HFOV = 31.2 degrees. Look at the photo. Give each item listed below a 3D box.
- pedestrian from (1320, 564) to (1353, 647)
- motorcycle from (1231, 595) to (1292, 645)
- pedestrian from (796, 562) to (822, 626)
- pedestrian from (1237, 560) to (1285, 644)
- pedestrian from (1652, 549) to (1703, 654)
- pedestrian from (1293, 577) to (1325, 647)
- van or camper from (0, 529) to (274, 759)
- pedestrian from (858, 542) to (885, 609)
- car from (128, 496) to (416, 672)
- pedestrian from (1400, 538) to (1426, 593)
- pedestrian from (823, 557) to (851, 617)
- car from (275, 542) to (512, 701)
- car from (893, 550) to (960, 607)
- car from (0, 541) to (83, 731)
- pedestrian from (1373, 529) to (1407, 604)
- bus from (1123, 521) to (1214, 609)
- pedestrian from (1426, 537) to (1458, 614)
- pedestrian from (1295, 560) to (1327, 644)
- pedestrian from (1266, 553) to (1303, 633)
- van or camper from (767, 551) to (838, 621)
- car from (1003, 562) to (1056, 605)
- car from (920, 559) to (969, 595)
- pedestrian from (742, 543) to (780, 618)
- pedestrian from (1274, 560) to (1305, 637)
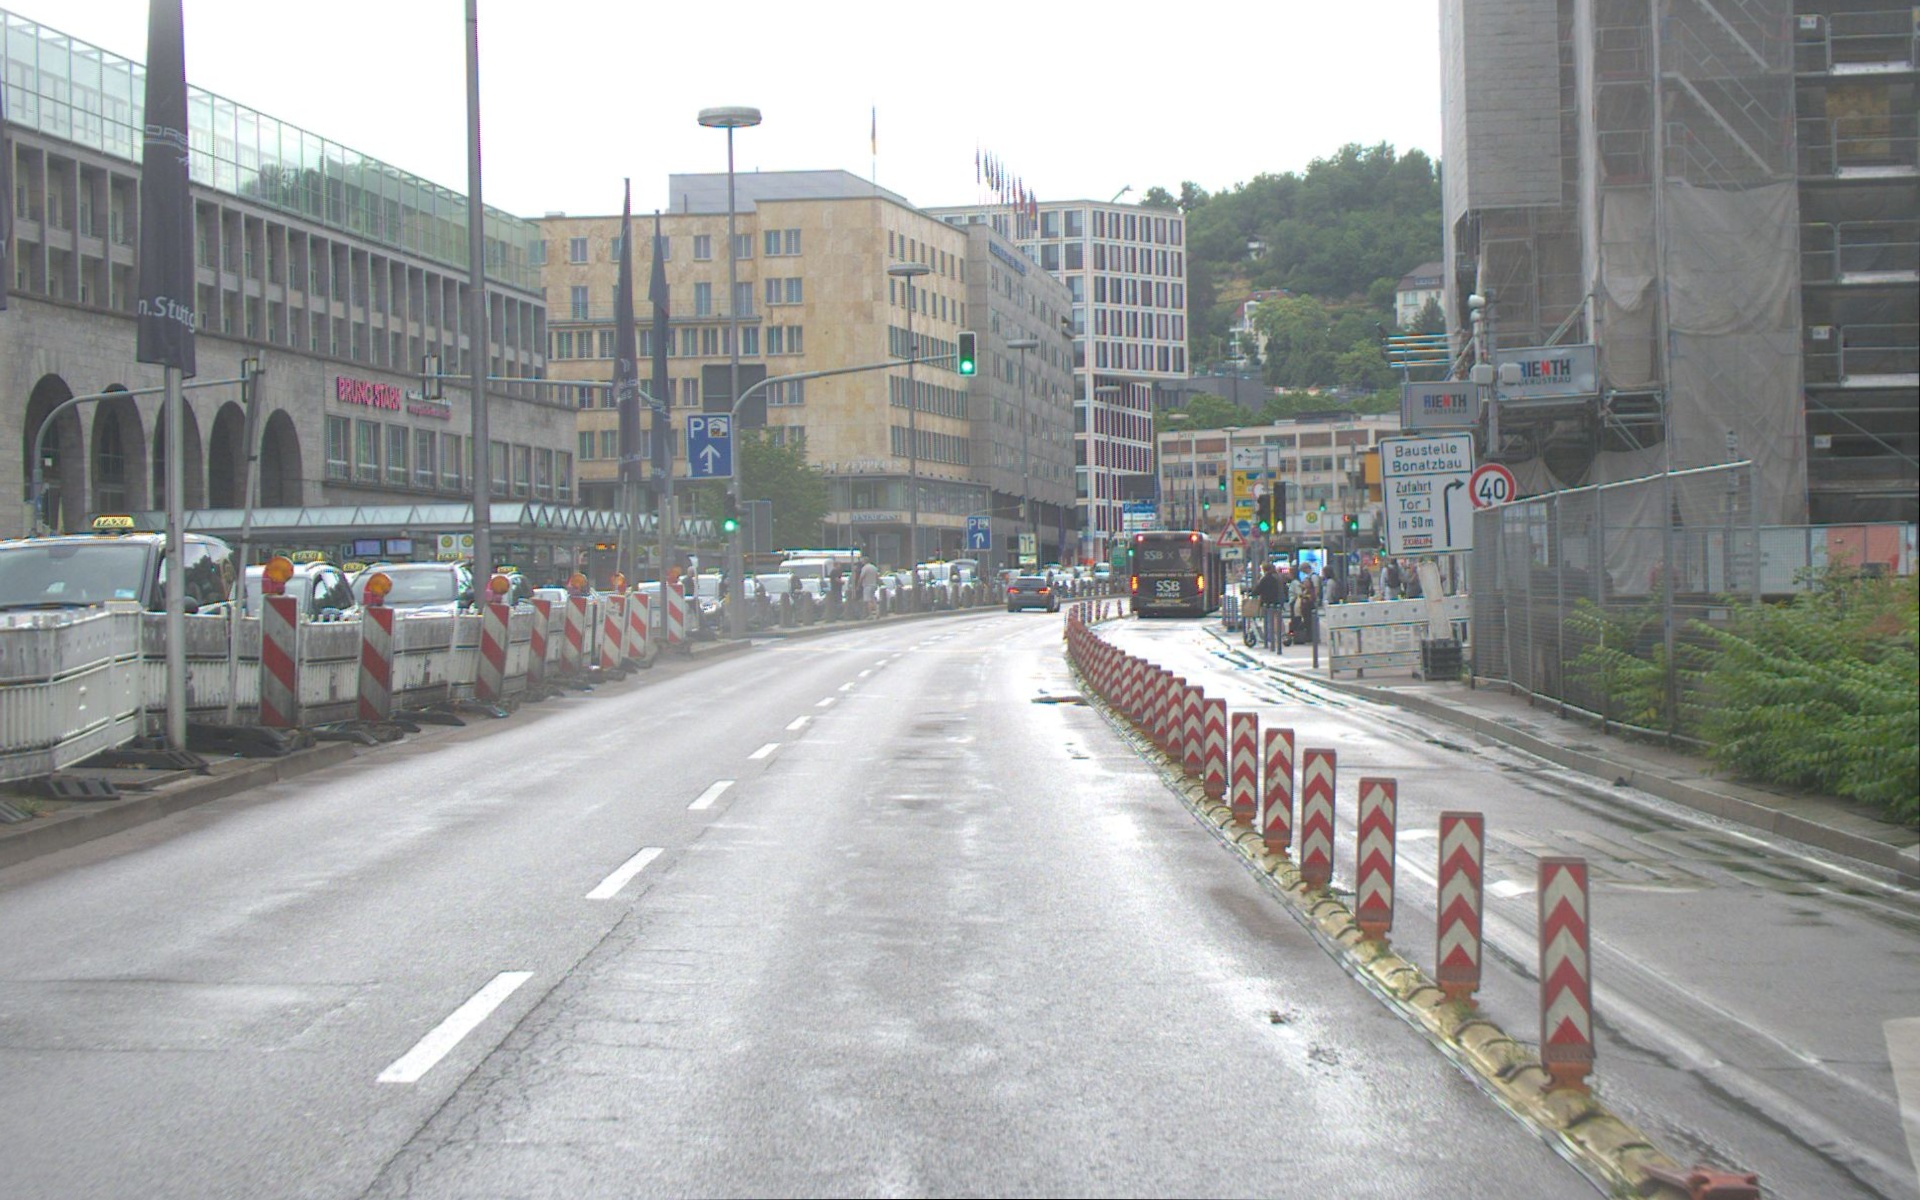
[{"bbox_3d":[7.788,0.112,71.116,0.558,1.645,0.614,-4,1,7],"label":"pedestrian"},{"bbox_3d":[6.332,0.413,72.175,0.584,1.018,1.239,-2,2,-37],"label":"motorcycle"},{"bbox_3d":[-4.071,-0.174,92.770,0.651,1.705,0.593,0,2,5],"label":"pedestrian"},{"bbox_3d":[6.315,0.031,72.176,0.580,1.734,0.822,-2,2,-37],"label":"pedestrian"},{"bbox_3d":[12.705,0.015,60.887,0.671,1.825,1.015,-1,1,0],"label":"pedestrian"},{"bbox_3d":[7.433,0.253,73.164,0.558,1.444,0.711,-4,1,7],"label":"pedestrian"},{"bbox_3d":[-7.683,0.297,30.428,1.945,1.813,5.392,0,2,2],"label":"van or camper"},{"bbox_3d":[-2.667,-0.732,103.372,0.723,2.001,0.772,0,2,6],"label":"pedestrian"},{"bbox_3d":[-7.749,-0.243,39.213,1.994,1.764,4.811,-2,2,4],"label":"car"},{"bbox_3d":[13.267,-1.018,100.732,0.651,1.534,0.665,-4,1,7],"label":"pedestrian"},{"bbox_3d":[-3.704,-0.395,103.303,0.698,1.748,0.711,-1,2,6],"label":"pedestrian"},{"bbox_3d":[-7.410,0.232,45.489,1.994,1.811,4.811,-2,2,4],"label":"car"},{"bbox_3d":[-1.391,-0.906,143.513,1.994,2.171,5.543,-2,2,7],"label":"car"},{"bbox_3d":[-10.798,0.353,35.758,1.914,1.845,4.566,4,2,2],"label":"car"},{"bbox_3d":[10.905,-0.852,87.210,0.723,1.841,0.810,-4,1,6],"label":"pedestrian"},{"bbox_3d":[7.581,-1.326,124.091,2.756,3.058,9.078,0,1,7],"label":"bus"},{"bbox_3d":[10.609,-0.542,75.684,0.549,1.626,0.995,-4,1,6],"label":"pedestrian"},{"bbox_3d":[7.559,0.037,73.995,0.558,1.746,0.711,-4,1,7],"label":"pedestrian"},{"bbox_3d":[7.268,-0.166,76.989,0.558,1.753,0.752,-4,1,-7],"label":"pedestrian"},{"bbox_3d":[-6.223,-0.588,136.190,1.994,2.505,5.370,-4,2,4],"label":"van or camper"},{"bbox_3d":[2.755,-0.670,136.228,1.993,1.546,4.000,-2,1,1],"label":"car"},{"bbox_3d":[-0.707,-1.101,161.737,1.994,1.546,4.000,-2,1,4],"label":"car"},{"bbox_3d":[-4.858,-0.469,83.786,0.781,1.769,0.607,-4,1,-6],"label":"pedestrian"},{"bbox_3d":[7.274,-0.033,75.842,0.558,1.635,0.752,-4,1,7],"label":"pedestrian"}]
